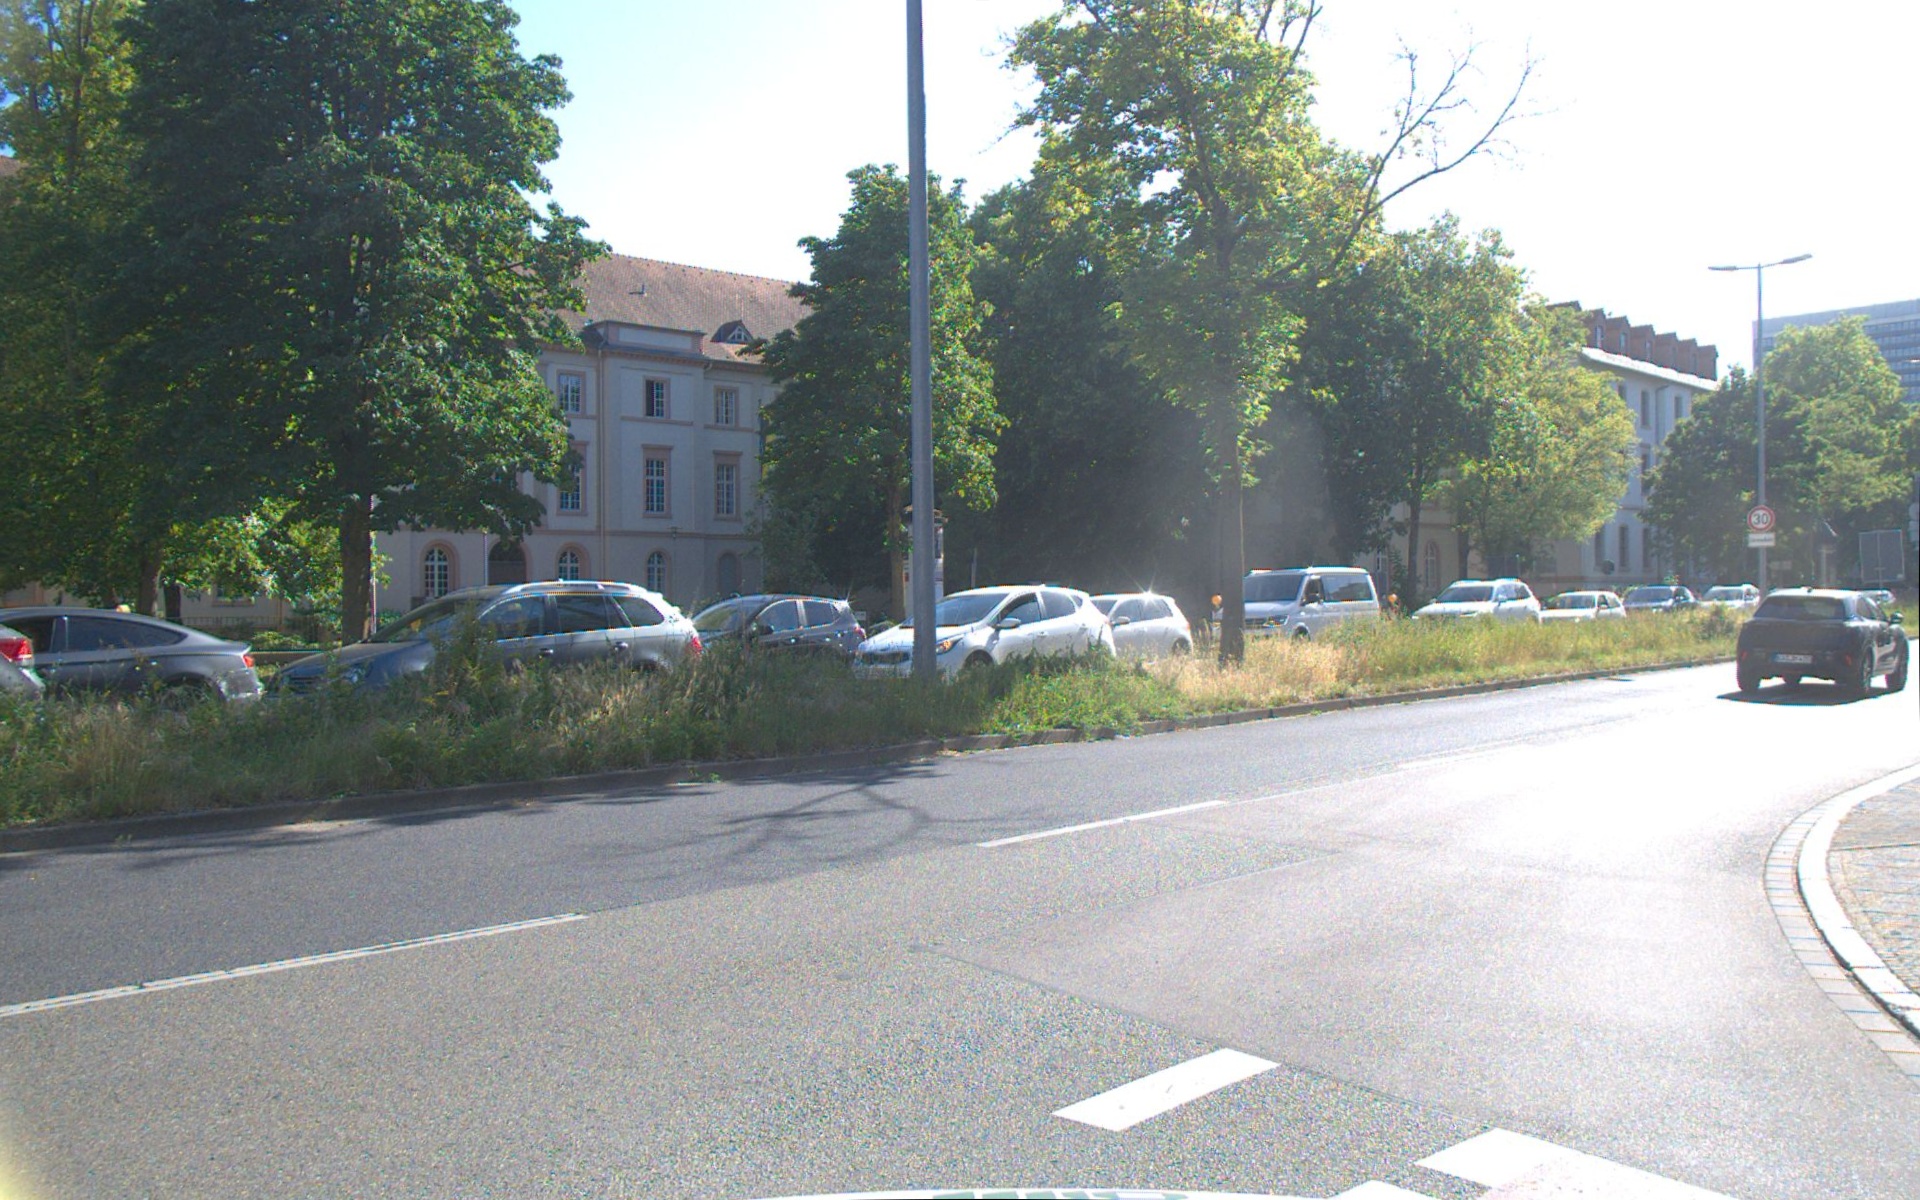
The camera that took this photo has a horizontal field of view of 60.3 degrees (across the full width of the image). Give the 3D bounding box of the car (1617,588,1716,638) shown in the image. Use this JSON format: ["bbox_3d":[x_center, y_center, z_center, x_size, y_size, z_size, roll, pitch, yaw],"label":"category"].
[{"bbox_3d":[22.879,0.413,53.505,1.768,1.545,4.421,-1,0,40],"label":"car"}]

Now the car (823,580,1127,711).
[{"bbox_3d":[0.287,0.528,21.743,1.768,1.545,4.183,-1,0,40],"label":"car"}]

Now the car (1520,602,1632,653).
[{"bbox_3d":[17.939,0.770,48.047,1.768,1.375,4.236,-1,0,40],"label":"car"}]

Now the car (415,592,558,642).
[{"bbox_3d":[-16.510,0.608,57.880,1.617,1.518,4.659,1,-2,40],"label":"car"}]

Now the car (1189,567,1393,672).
[{"bbox_3d":[7.149,0.380,35.362,2.199,2.063,4.991,0,0,40],"label":"car"}]

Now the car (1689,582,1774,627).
[{"bbox_3d":[27.803,0.146,59.555,1.768,1.545,4.236,-1,0,40],"label":"car"}]

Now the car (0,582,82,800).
[{"bbox_3d":[-8.509,0.633,11.072,1.768,1.545,4.324,1,0,40],"label":"car"}]

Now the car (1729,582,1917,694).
[{"bbox_3d":[13.408,0.520,25.585,1.864,1.545,3.982,2,1,38],"label":"car"}]

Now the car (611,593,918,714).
[{"bbox_3d":[-2.676,0.691,23.520,1.768,1.545,4.324,1,0,40],"label":"car"}]

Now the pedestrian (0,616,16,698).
[{"bbox_3d":[-18.774,1.099,31.859,0.727,1.562,0.779,-1,0,35],"label":"pedestrian"}]

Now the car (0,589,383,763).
[{"bbox_3d":[-8.188,0.675,16.487,1.768,1.545,4.324,1,0,40],"label":"car"}]

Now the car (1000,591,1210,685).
[{"bbox_3d":[2.644,0.631,29.452,1.768,1.545,4.058,0,0,40],"label":"car"}]

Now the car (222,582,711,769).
[{"bbox_3d":[-4.636,0.609,16.088,1.768,1.545,4.341,1,1,40],"label":"car"}]

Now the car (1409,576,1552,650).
[{"bbox_3d":[13.452,0.307,42.544,1.768,1.774,5.006,-1,0,40],"label":"car"}]
